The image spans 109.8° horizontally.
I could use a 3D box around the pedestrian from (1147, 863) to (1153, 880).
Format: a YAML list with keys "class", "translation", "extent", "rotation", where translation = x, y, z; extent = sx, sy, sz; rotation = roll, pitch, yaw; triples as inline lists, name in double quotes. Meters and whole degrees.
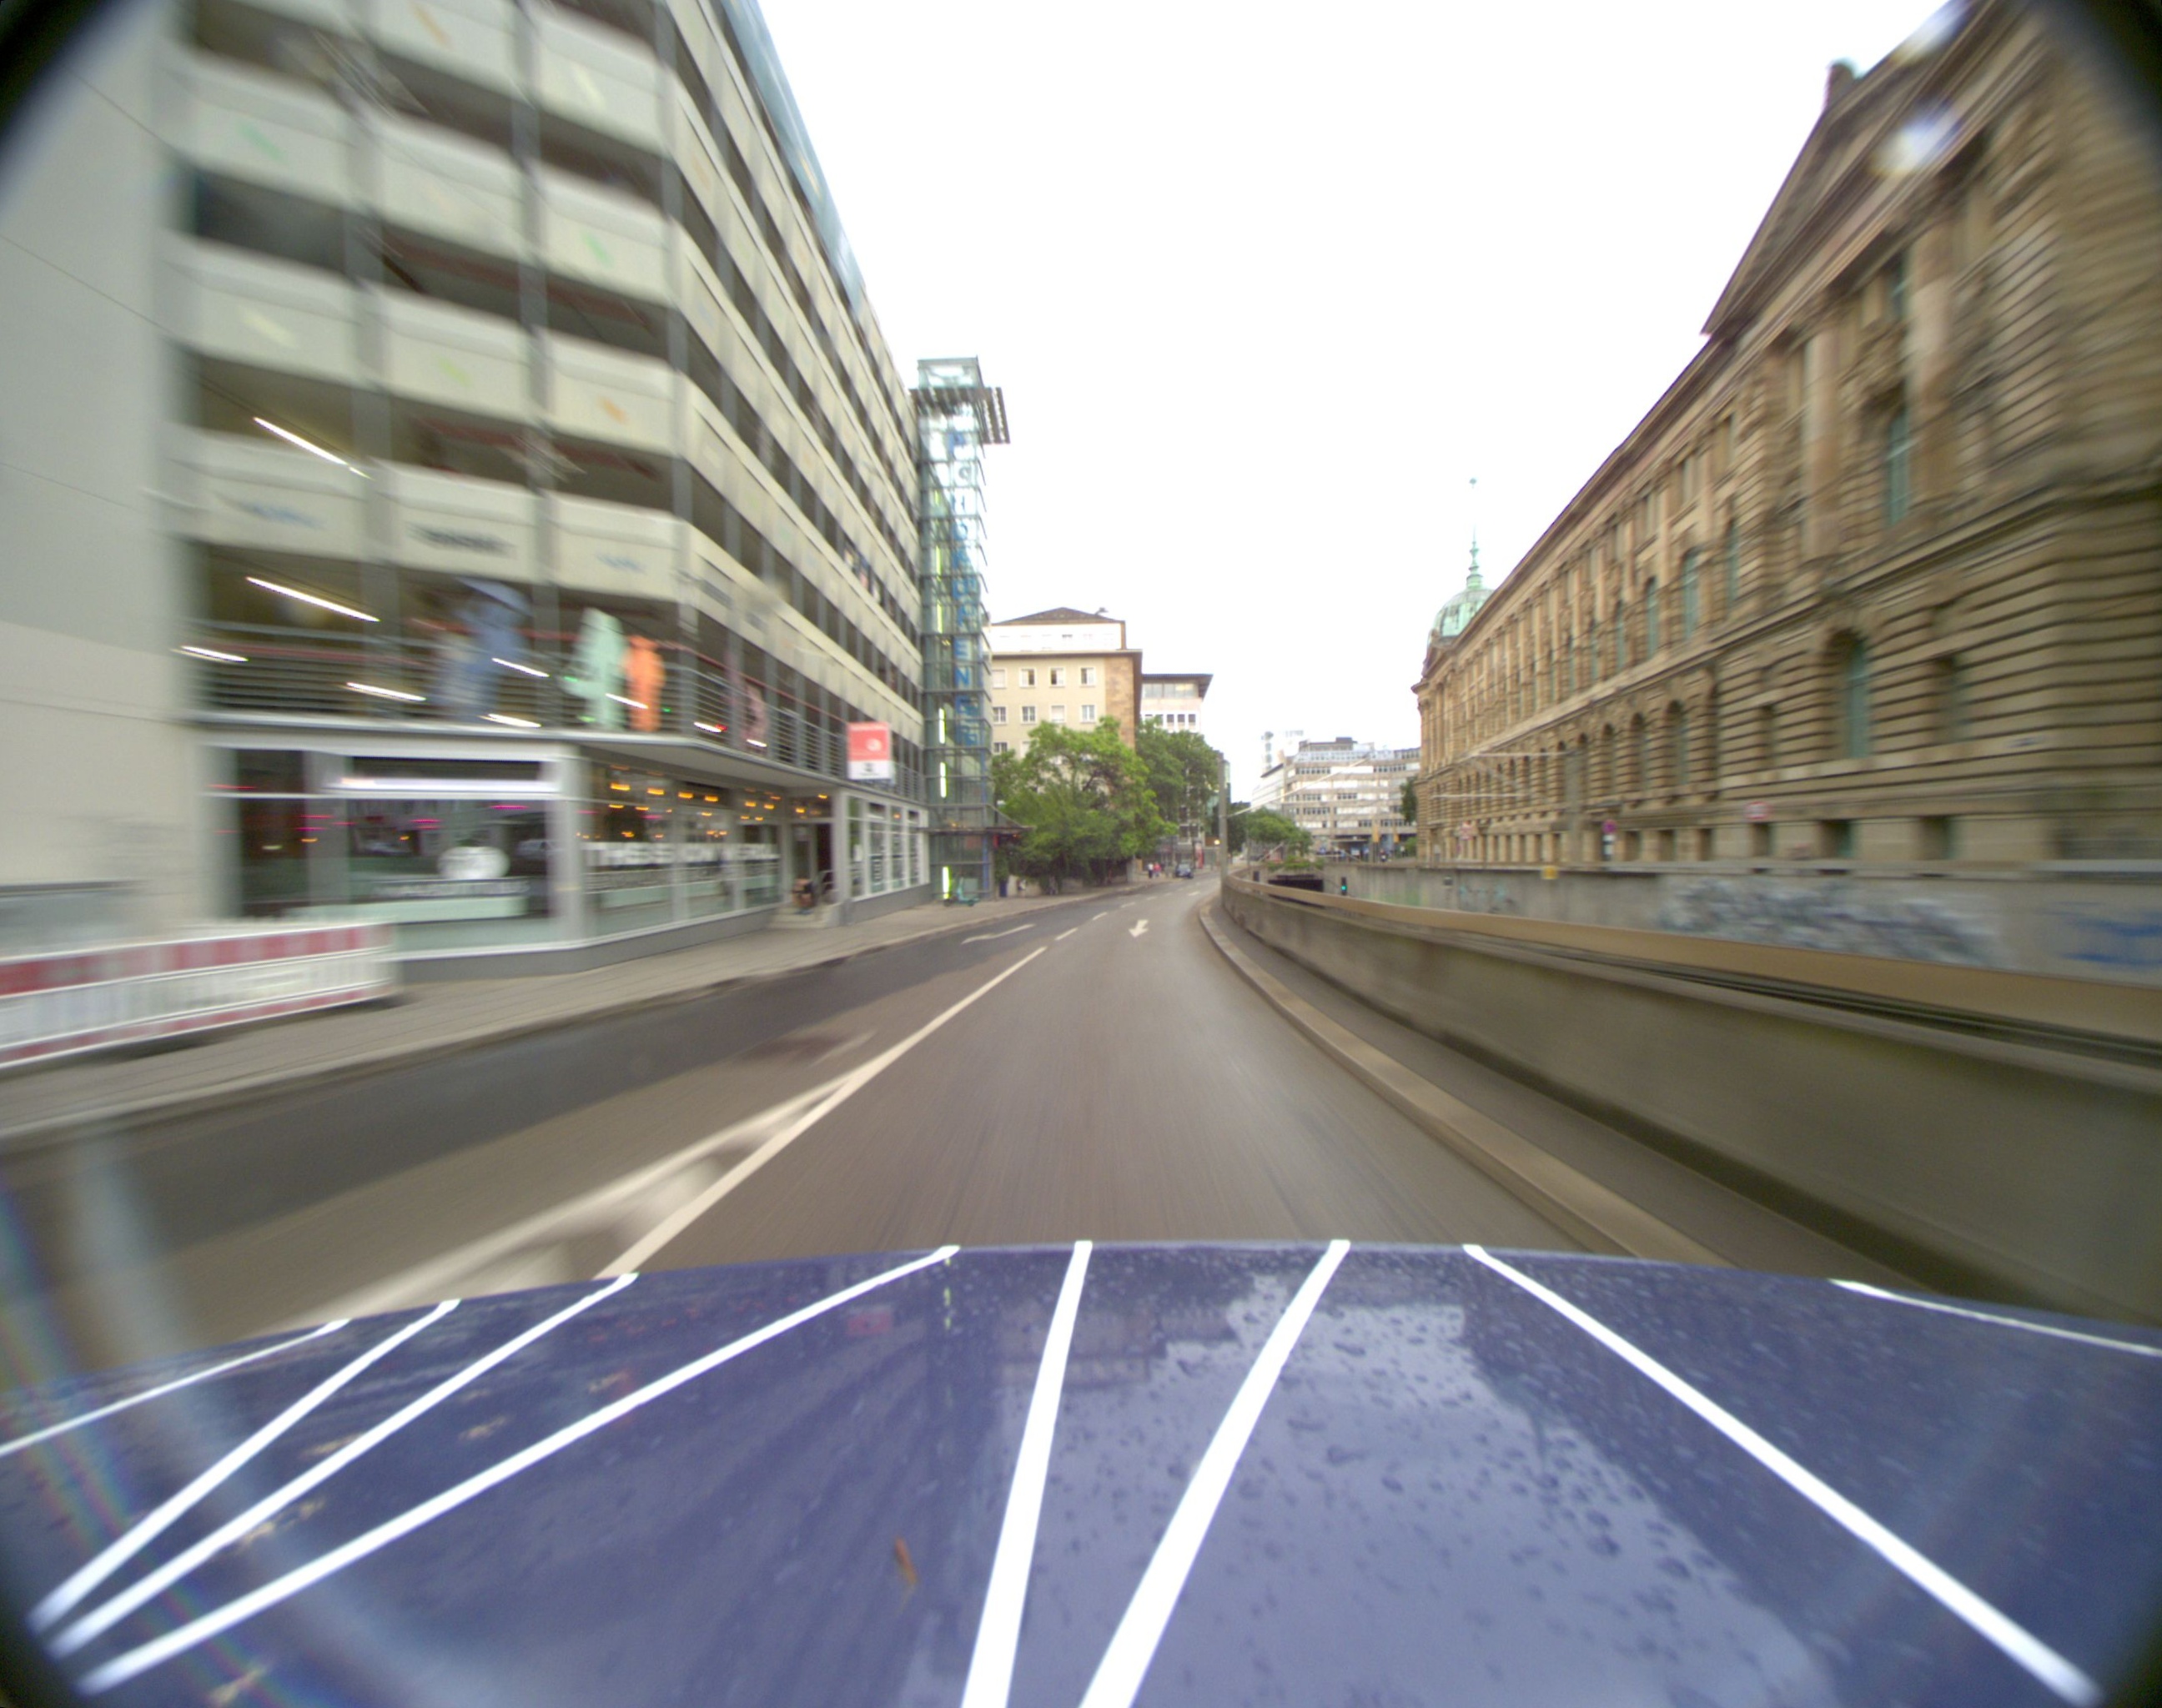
- class: "pedestrian"
  translation: [6.611, 1.702, 72.692]
  extent: [0.525, 1.593, 0.674]
  rotation: [-1, 1, 10]

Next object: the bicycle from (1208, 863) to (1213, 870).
- class: "bicycle"
  translation: [18.469, 1.750, 108.418]
  extent: [0.490, 1.006, 1.930]
  rotation: [-1, 0, 12]

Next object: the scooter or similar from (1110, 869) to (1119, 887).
- class: "scooter or similar"
  translation: [2.423, 1.712, 54.767]
  extent: [0.447, 1.252, 1.213]
  rotation: [0, 0, 15]

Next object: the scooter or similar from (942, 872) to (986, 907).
- class: "scooter or similar"
  translation: [-4.397, 1.325, 28.556]
  extent: [1.641, 1.260, 0.742]
  rotation: [0, 0, -10]

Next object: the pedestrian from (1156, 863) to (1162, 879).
- class: "pedestrian"
  translation: [7.519, 1.650, 72.822]
  extent: [0.525, 1.483, 0.674]
  rotation: [-1, 1, 5]

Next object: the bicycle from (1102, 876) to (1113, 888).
- class: "bicycle"
  translation: [1.825, 1.928, 52.588]
  extent: [0.501, 0.750, 1.212]
  rotation: [2, 0, 14]

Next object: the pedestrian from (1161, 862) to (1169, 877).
- class: "pedestrian"
  translation: [9.932, 1.873, 89.781]
  extent: [0.780, 1.761, 0.863]
  rotation: [-1, 0, 11]

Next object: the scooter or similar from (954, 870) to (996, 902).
- class: "scooter or similar"
  translation: [-4.289, 1.301, 30.764]
  extent: [1.641, 1.260, 0.742]
  rotation: [0, 0, -10]

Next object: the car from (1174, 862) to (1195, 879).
- class: "car"
  translation: [10.971, 1.684, 80.288]
  extent: [1.771, 1.610, 4.161]
  rotation: [-2, 0, 13]

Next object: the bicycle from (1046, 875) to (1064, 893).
- class: "bicycle"
  translation: [-1.368, 1.588, 40.431]
  extent: [0.470, 0.880, 1.692]
  rotation: [-1, 0, 15]

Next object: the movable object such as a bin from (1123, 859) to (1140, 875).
- class: "movable object such as a bin"
  translation: [4.208, 1.060, 63.291]
  extent: [1.241, 1.302, 1.235]
  rotation: [1, 1, 16]

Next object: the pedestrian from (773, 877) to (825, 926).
- class: "pedestrian"
  translation: [-6.958, 1.159, 18.796]
  extent: [0.754, 1.116, 1.247]
  rotation: [-2, 0, 1]
